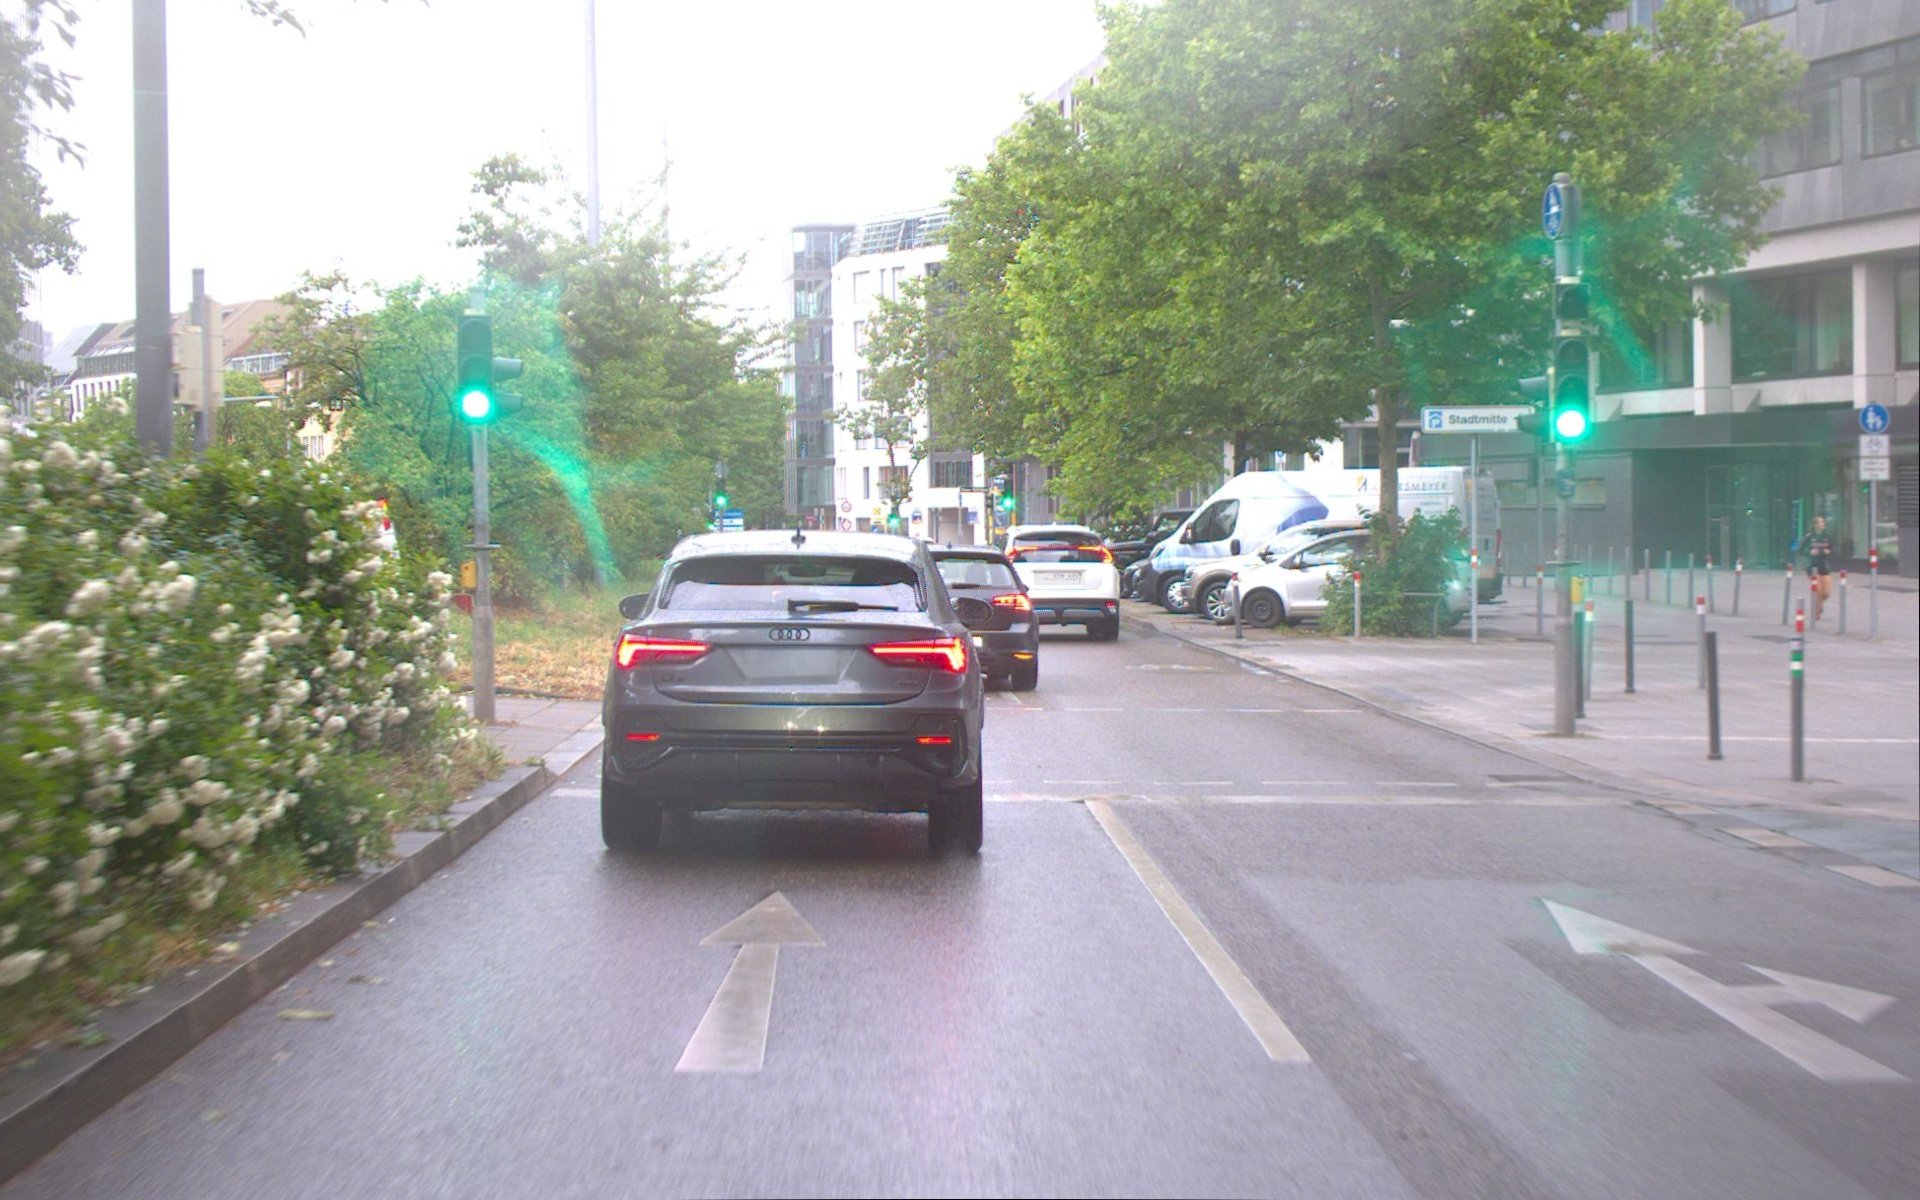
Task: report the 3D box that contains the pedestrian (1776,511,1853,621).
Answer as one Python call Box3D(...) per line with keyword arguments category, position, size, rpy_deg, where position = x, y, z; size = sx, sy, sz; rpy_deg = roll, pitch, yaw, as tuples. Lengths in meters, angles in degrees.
Box3D(category="pedestrian", position=(13.372, -0.534, 53.817), size=(0.805, 1.690, 1.187), rpy_deg=(1, 1, -5))

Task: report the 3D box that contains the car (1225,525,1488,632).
Box3D(category="car", position=(5.974, -0.340, 51.760), size=(3.652, 1.542, 1.713), rpy_deg=(1, 1, 18))

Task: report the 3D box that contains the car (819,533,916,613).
Box3D(category="car", position=(-1.830, -0.552, 68.463), size=(1.849, 1.518, 4.039), rpy_deg=(0, 1, -1))

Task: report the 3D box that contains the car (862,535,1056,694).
Box3D(category="car", position=(-0.049, 0.108, 34.892), size=(1.849, 1.518, 4.039), rpy_deg=(0, 1, -1))

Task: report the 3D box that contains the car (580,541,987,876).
Box3D(category="car", position=(-0.873, 0.466, 17.711), size=(1.849, 1.518, 4.039), rpy_deg=(0, 1, -2))

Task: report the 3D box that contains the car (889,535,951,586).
Box3D(category="car", position=(-1.242, -1.224, 105.034), size=(1.849, 1.518, 4.039), rpy_deg=(0, 1, -1))

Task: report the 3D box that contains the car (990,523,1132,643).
Box3D(category="car", position=(1.430, -0.266, 50.001), size=(1.849, 1.663, 4.039), rpy_deg=(0, 1, -1))

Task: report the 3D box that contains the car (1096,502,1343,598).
Box3D(category="car", position=(5.630, -1.083, 74.604), size=(4.943, 1.972, 1.927), rpy_deg=(-1, 1, 25))

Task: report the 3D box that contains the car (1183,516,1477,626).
Box3D(category="car", position=(5.849, -0.474, 54.433), size=(4.262, 1.662, 1.816), rpy_deg=(1, 1, 25))

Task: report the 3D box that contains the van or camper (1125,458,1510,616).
Box3D(category="van or camper", position=(5.979, -1.039, 57.719), size=(6.074, 2.549, 2.102), rpy_deg=(0, 1, 26))

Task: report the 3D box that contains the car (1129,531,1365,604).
Box3D(category="car", position=(5.743, -0.657, 68.810), size=(4.370, 1.431, 1.759), rpy_deg=(0, 1, 25))

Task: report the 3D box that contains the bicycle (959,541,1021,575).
Box3D(category="bicycle", position=(1.172, -1.627, 134.155), size=(2.337, 1.308, 0.710), rpy_deg=(0, 1, -8))
